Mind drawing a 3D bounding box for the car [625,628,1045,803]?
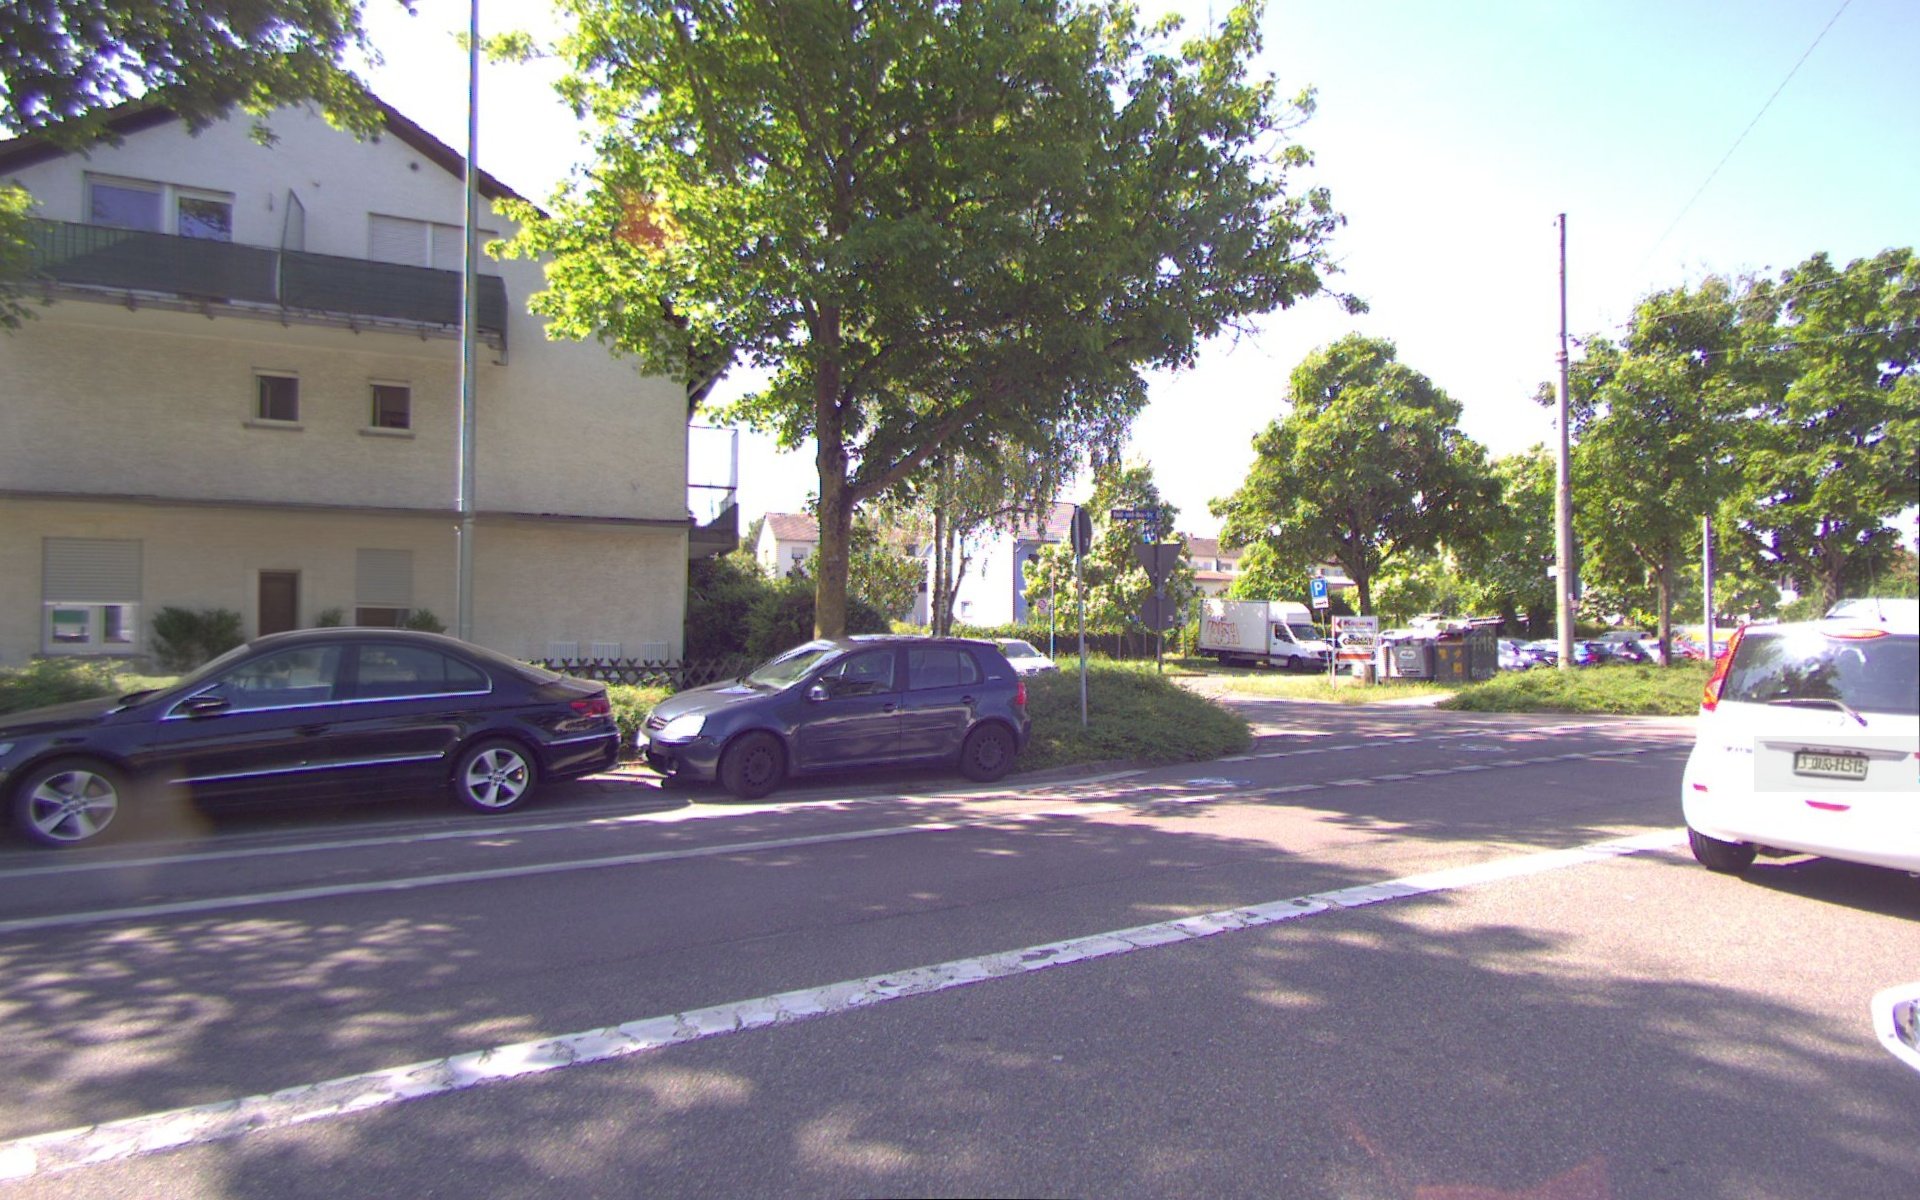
[{"bbox_3d":[-1.268,1.070,10.458,3.988,1.462,1.718,1,0,-28],"label":"car"}]

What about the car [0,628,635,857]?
[{"bbox_3d":[-5.247,0.999,8.343,4.568,1.434,1.854,1,0,-31],"label":"car"}]

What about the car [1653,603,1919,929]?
[{"bbox_3d":[6.408,0.846,6.261,4.491,1.568,1.655,1,-1,-29],"label":"car"}]

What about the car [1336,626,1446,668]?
[{"bbox_3d":[21.658,2.331,50.687,2.043,1.811,4.762,2,0,-34],"label":"car"}]

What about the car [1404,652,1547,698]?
[{"bbox_3d":[17.316,2.495,33.894,1.712,1.434,3.964,2,-4,-33],"label":"car"}]

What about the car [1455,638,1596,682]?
[{"bbox_3d":[19.688,2.080,35.118,1.712,1.434,3.964,2,-4,-33],"label":"car"}]

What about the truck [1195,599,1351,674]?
[{"bbox_3d":[14.420,1.587,46.840,2.646,3.151,6.967,1,0,-30],"label":"truck"}]

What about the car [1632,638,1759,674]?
[{"bbox_3d":[30.733,2.340,42.080,1.712,1.434,3.964,2,-4,-33],"label":"car"}]

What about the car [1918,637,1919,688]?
[{"bbox_3d":[29.426,1.826,28.733,4.230,1.434,1.854,1,0,-31],"label":"car"}]

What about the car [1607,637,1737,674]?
[{"bbox_3d":[28.822,2.249,40.779,1.712,1.434,3.964,2,-4,-33],"label":"car"}]

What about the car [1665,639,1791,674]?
[{"bbox_3d":[33.155,2.452,43.450,1.712,1.434,3.964,2,-4,-33],"label":"car"}]

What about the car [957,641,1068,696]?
[{"bbox_3d":[1.405,1.925,28.435,1.704,1.434,3.983,1,-3,-20],"label":"car"}]

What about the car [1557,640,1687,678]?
[{"bbox_3d":[26.344,2.335,40.091,1.712,1.434,3.964,2,-4,-33],"label":"car"}]

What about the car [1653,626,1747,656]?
[{"bbox_3d":[50.550,2.783,68.725,2.043,1.811,4.762,2,0,-34],"label":"car"}]

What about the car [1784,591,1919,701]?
[{"bbox_3d":[23.854,1.119,25.806,5.745,2.550,2.114,1,0,-29],"label":"car"}]

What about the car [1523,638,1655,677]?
[{"bbox_3d":[24.163,2.218,38.710,1.712,1.434,3.964,2,-4,-33],"label":"car"}]

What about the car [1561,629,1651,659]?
[{"bbox_3d":[44.508,2.997,69.293,2.043,1.811,4.762,2,0,-34],"label":"car"}]

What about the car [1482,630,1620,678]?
[{"bbox_3d":[21.407,1.977,36.503,1.712,1.631,3.964,2,-4,-33],"label":"car"}]
